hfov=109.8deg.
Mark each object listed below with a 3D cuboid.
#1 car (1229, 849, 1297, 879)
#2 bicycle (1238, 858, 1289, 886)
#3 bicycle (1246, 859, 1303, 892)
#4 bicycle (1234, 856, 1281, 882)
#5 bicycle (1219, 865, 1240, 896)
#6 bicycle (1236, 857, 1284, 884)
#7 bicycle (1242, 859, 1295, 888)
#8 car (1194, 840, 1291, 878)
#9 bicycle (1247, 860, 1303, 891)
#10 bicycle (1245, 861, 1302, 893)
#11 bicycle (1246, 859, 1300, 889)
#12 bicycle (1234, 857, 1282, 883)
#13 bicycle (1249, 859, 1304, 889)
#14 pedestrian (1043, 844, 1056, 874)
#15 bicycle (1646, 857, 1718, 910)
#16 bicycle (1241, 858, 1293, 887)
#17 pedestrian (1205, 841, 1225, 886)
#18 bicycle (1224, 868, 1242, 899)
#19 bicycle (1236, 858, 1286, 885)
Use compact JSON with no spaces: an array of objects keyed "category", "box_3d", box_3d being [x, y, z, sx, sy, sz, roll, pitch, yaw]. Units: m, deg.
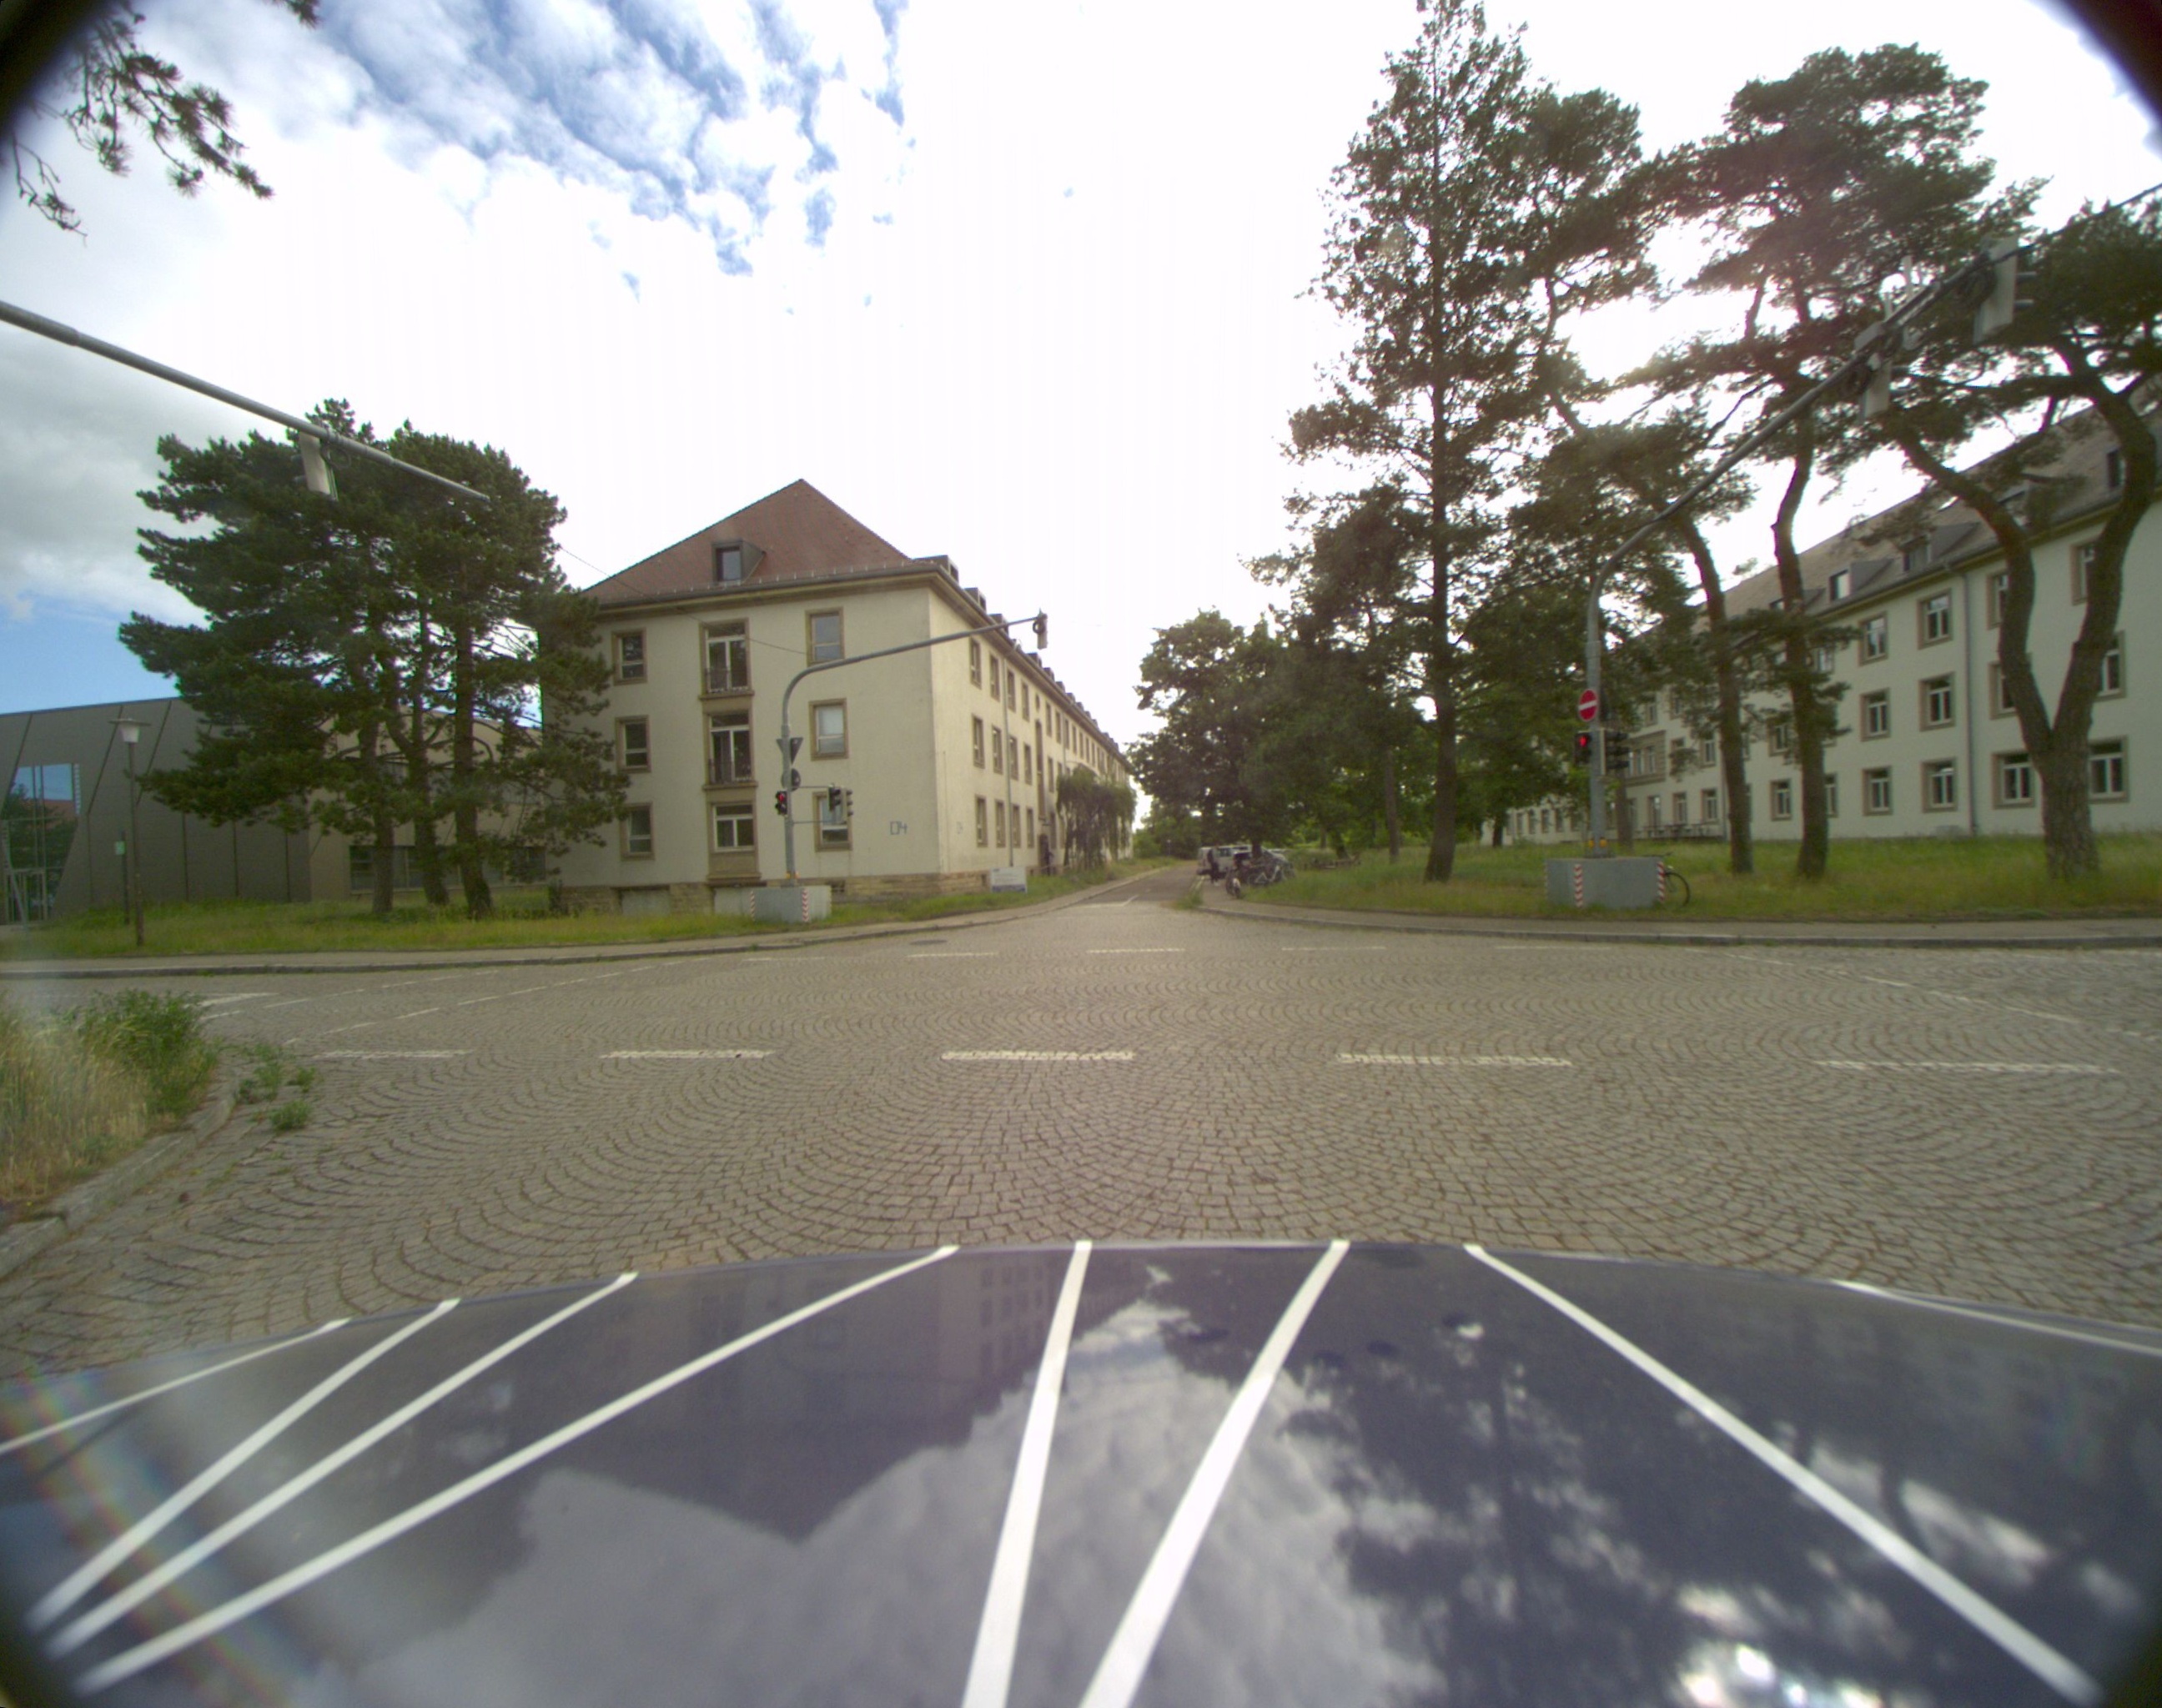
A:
[{"category":"car","box_3d":[9.944,0.538,41.794,3.437,1.440,1.914,-2,0,9]},{"category":"bicycle","box_3d":[7.471,0.736,31.145,1.949,1.059,0.563,-2,1,8]},{"category":"bicycle","box_3d":[7.060,0.786,27.834,1.949,1.104,0.563,-2,1,8]},{"category":"bicycle","box_3d":[7.841,0.679,33.834,1.949,1.059,0.563,-2,1,8]},{"category":"bicycle","box_3d":[5.087,0.901,25.993,0.459,0.968,1.664,-2,0,19]},{"category":"bicycle","box_3d":[7.660,0.707,32.569,1.949,1.059,0.563,-2,1,8]},{"category":"bicycle","box_3d":[7.409,0.756,30.052,1.949,1.059,0.563,-2,1,8]},{"category":"car","box_3d":[9.604,0.287,45.544,5.362,1.987,2.291,-2,0,2]},{"category":"bicycle","box_3d":[7.232,0.795,28.342,1.949,1.059,0.563,-2,1,8]},{"category":"bicycle","box_3d":[6.912,0.824,27.297,1.897,1.059,0.617,-2,1,8]},{"category":"bicycle","box_3d":[7.425,0.769,29.459,1.949,1.059,0.563,-2,1,8]},{"category":"bicycle","box_3d":[7.732,0.694,33.244,1.949,1.059,0.563,-2,1,8]},{"category":"bicycle","box_3d":[7.426,0.778,28.965,1.949,1.059,0.563,-2,1,8]},{"category":"pedestrian","box_3d":[-1.816,0.286,44.497,0.568,1.691,0.532,-2,1,14]},{"category":"bicycle","box_3d":[10.897,0.512,13.803,0.293,0.911,1.053,-2,0,-11]},{"category":"bicycle","box_3d":[7.479,0.745,30.588,1.949,1.059,0.563,-2,1,8]},{"category":"pedestrian","box_3d":[5.846,0.429,33.142,0.792,1.926,0.588,-2,1,10]},{"category":"bicycle","box_3d":[4.856,0.922,24.182,0.459,0.903,1.664,-2,0,14]},{"category":"bicycle","box_3d":[7.526,0.723,31.854,1.949,1.059,0.563,-2,1,8]}]
